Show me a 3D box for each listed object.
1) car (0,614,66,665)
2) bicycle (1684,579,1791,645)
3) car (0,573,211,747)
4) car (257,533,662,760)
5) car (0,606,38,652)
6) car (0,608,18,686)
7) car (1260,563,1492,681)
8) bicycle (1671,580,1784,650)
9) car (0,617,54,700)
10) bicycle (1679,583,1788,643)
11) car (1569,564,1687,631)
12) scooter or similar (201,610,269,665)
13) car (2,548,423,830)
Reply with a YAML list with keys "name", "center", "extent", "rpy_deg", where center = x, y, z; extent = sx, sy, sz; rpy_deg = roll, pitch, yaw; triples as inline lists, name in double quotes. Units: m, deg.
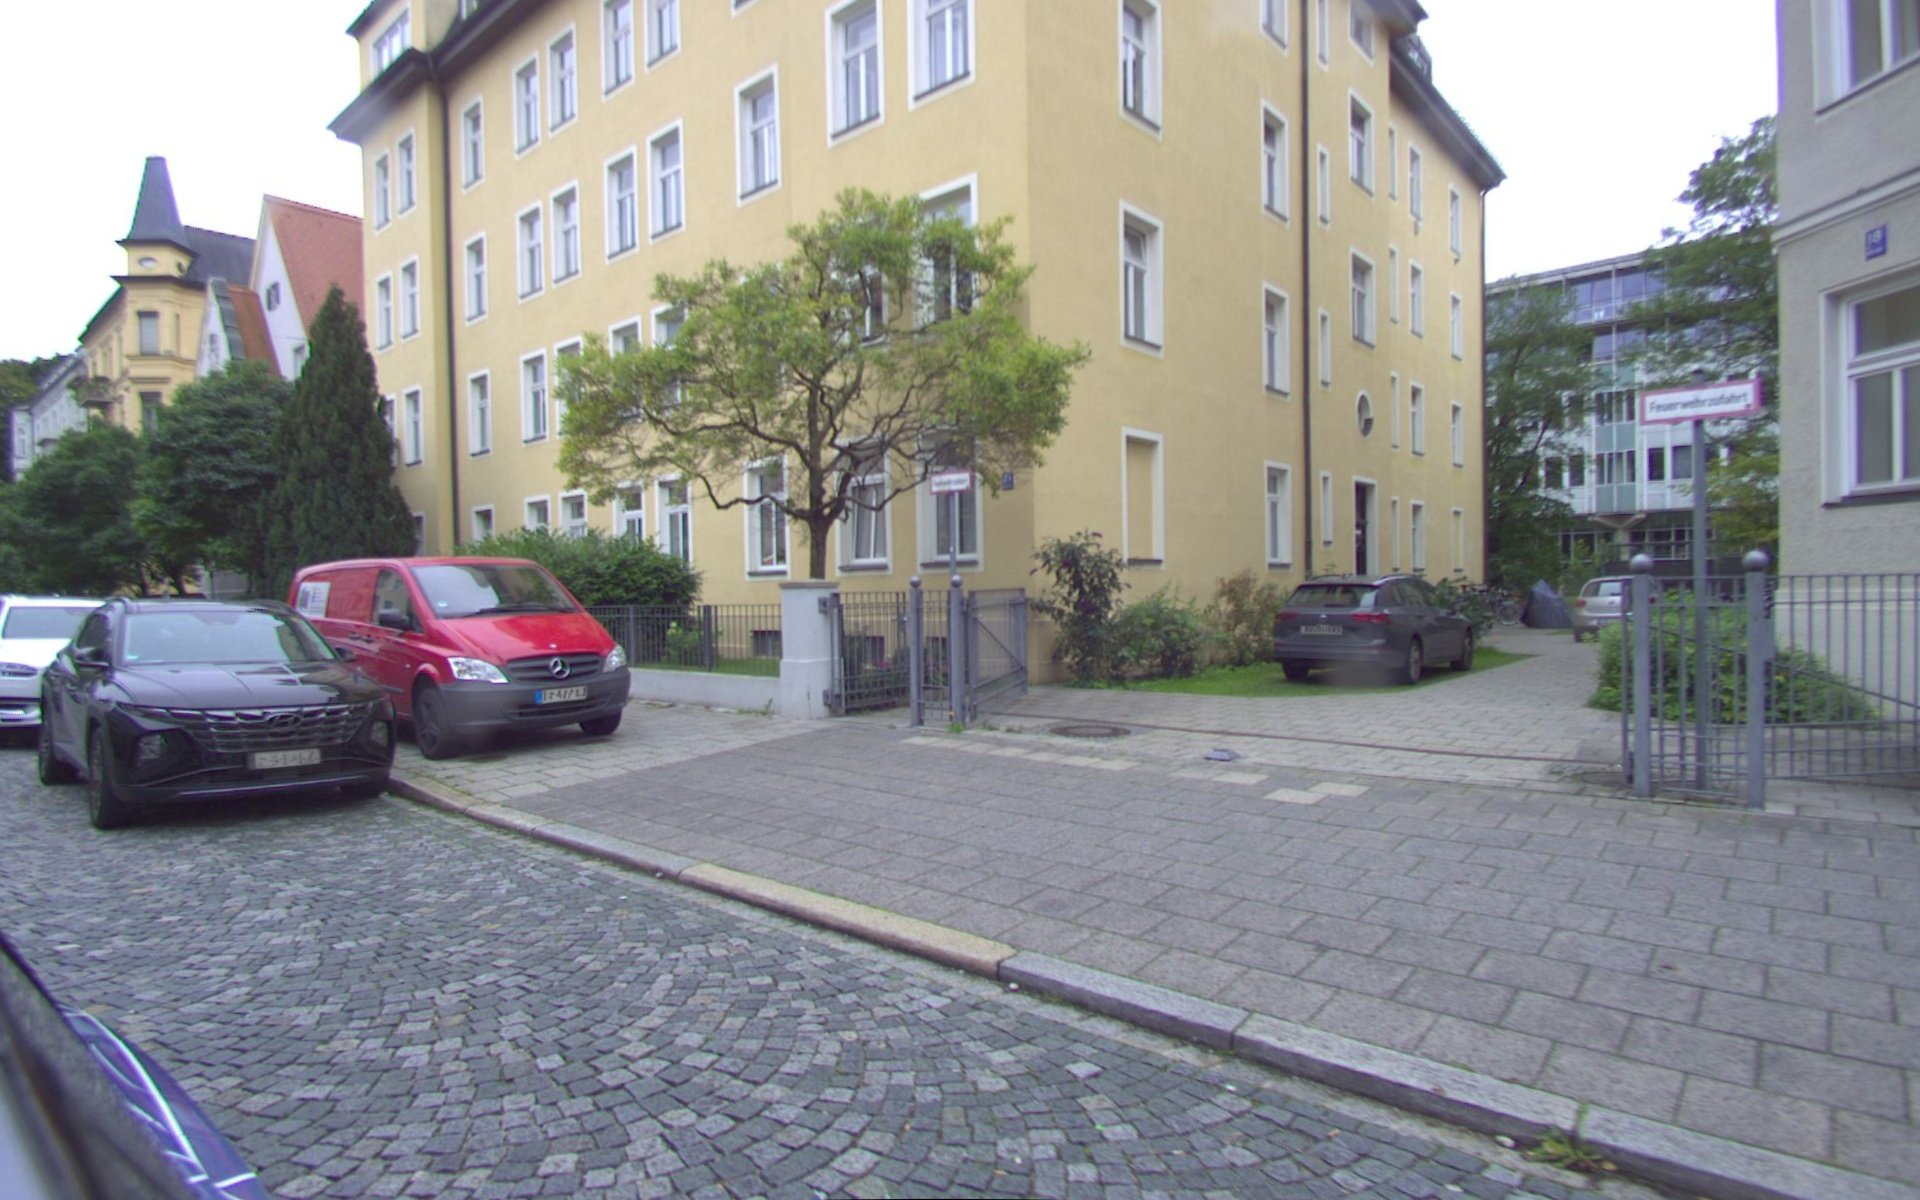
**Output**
- name: "car"
  center: [-30.264, 1.232, 32.532]
  extent: [4.560, 1.427, 1.757]
  rpy_deg: [-1, 2, 42]
- name: "bicycle"
  center: [13.889, 0.213, 18.101]
  extent: [1.468, 1.147, 0.511]
  rpy_deg: [-1, 0, 41]
- name: "car"
  center: [-11.445, 0.660, 12.964]
  extent: [5.173, 1.822, 1.985]
  rpy_deg: [-1, -1, 42]
- name: "car"
  center: [-5.695, 0.390, 11.145]
  extent: [5.326, 1.945, 1.974]
  rpy_deg: [-1, 2, 40]
- name: "car"
  center: [-35.582, 1.068, 37.325]
  extent: [4.464, 1.547, 1.722]
  rpy_deg: [-1, 2, 41]
- name: "car"
  center: [-21.607, 0.979, 21.635]
  extent: [4.388, 1.574, 1.696]
  rpy_deg: [-1, -1, 41]
- name: "car"
  center: [6.018, 0.255, 14.383]
  extent: [1.833, 1.434, 4.025]
  rpy_deg: [0, 0, 42]
- name: "bicycle"
  center: [12.972, 0.251, 17.124]
  extent: [1.468, 1.147, 0.511]
  rpy_deg: [-1, 0, 41]
- name: "car"
  center: [-18.131, 1.024, 18.615]
  extent: [3.934, 1.429, 1.712]
  rpy_deg: [-1, -2, 41]
- name: "bicycle"
  center: [13.451, 0.232, 17.621]
  extent: [1.468, 1.004, 0.511]
  rpy_deg: [-1, 0, 41]
- name: "car"
  center: [15.294, -0.064, 23.094]
  extent: [1.747, 1.399, 3.936]
  rpy_deg: [0, 0, 41]
- name: "scooter or similar"
  center: [-17.507, 0.892, 24.420]
  extent: [1.522, 1.209, 0.946]
  rpy_deg: [-1, 3, 41]
- name: "car"
  center: [-6.534, 0.623, 8.610]
  extent: [4.754, 1.748, 1.897]
  rpy_deg: [-1, -3, 42]
